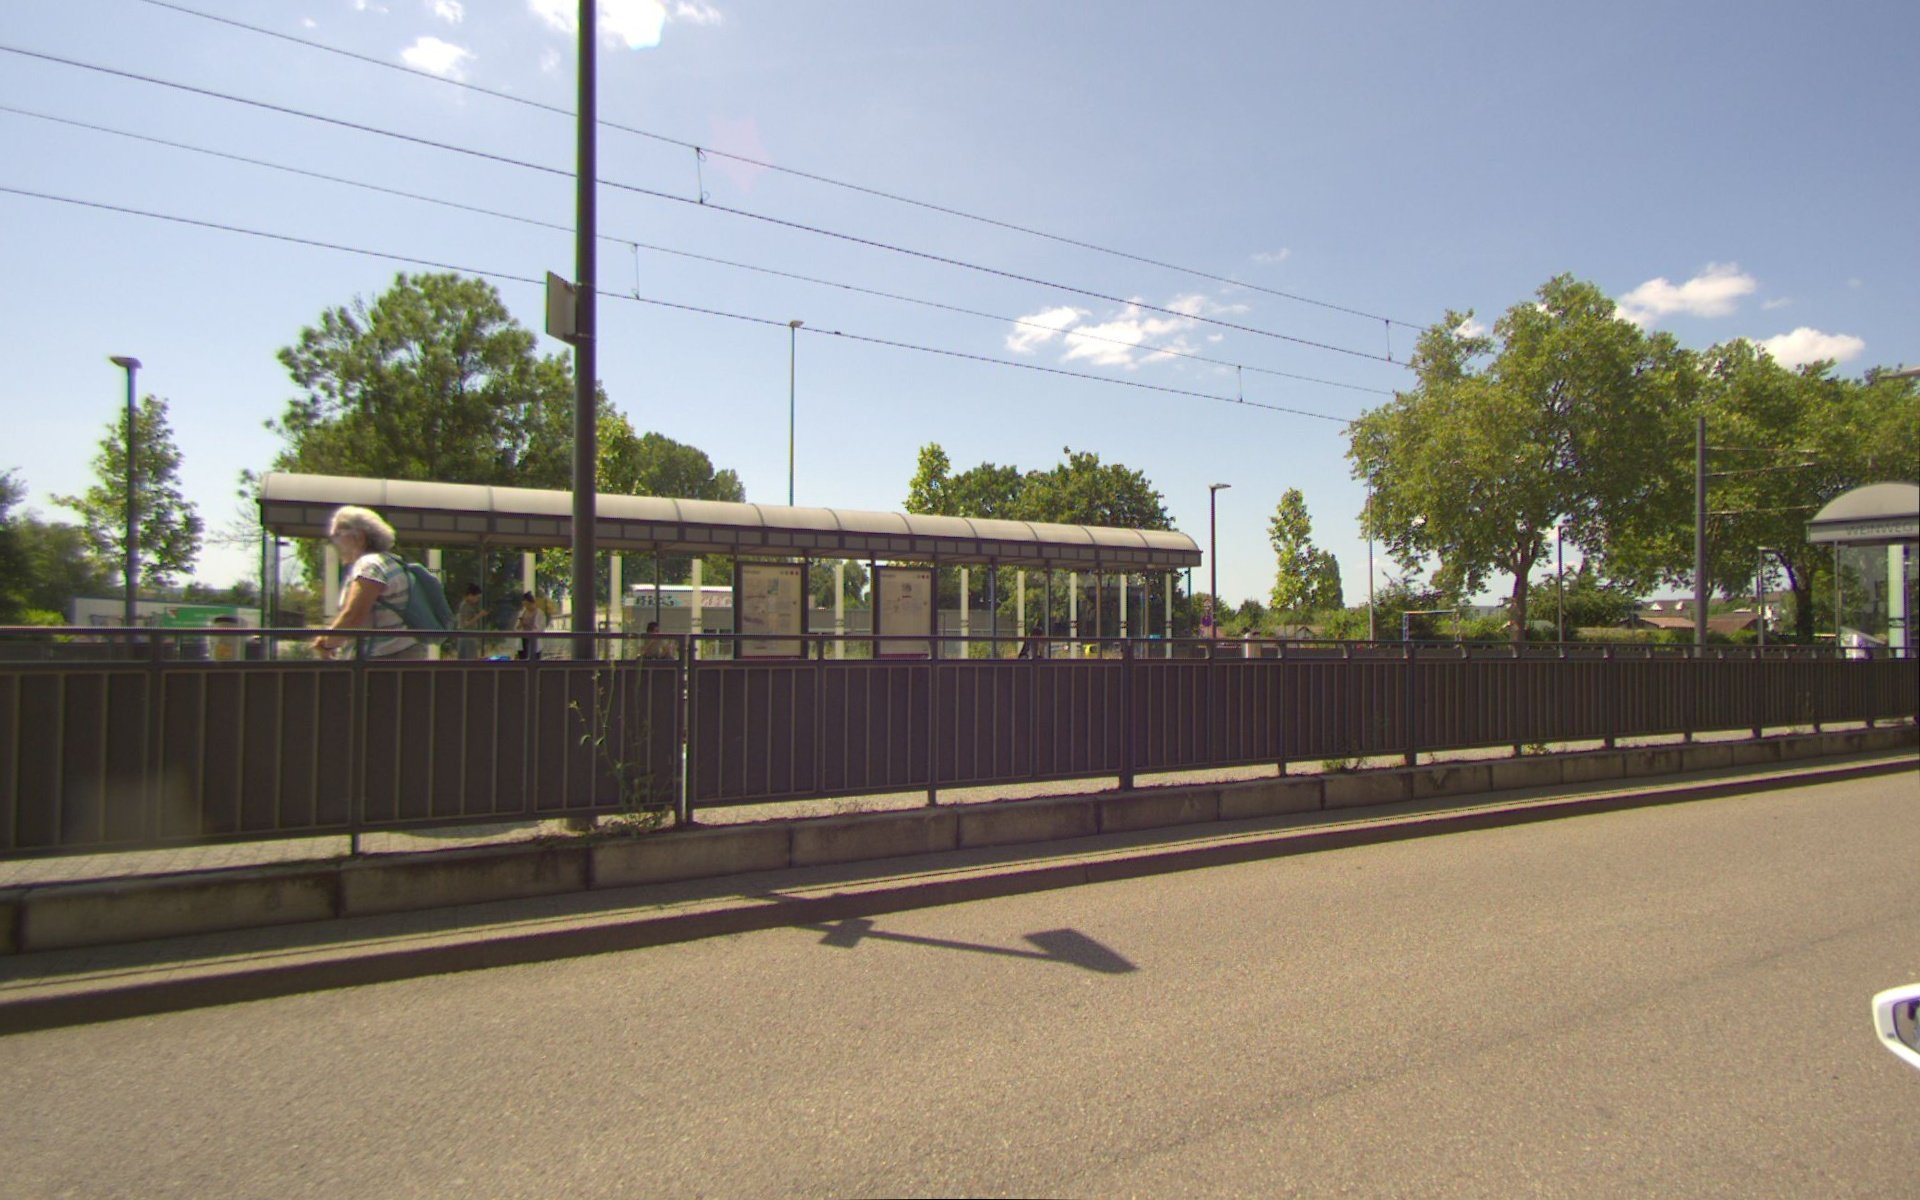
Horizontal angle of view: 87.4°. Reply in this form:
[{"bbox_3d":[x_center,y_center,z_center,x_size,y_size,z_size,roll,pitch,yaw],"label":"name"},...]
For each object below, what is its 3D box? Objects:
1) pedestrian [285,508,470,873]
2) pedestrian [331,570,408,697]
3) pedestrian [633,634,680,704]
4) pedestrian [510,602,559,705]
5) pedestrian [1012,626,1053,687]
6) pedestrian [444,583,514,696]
[{"bbox_3d":[-2.958,0.429,5.148,0.733,1.687,0.729,1,-1,-30],"label":"pedestrian"},{"bbox_3d":[-8.371,0.476,14.264,0.566,1.751,0.739,0,-1,8],"label":"pedestrian"},{"bbox_3d":[-4.972,1.118,16.457,0.631,1.109,0.574,2,-2,-28],"label":"pedestrian"},{"bbox_3d":[-6.620,0.821,15.614,0.631,1.553,0.574,1,-2,-28],"label":"pedestrian"},{"bbox_3d":[1.465,1.131,20.358,0.631,1.206,0.574,2,-2,-28],"label":"pedestrian"},{"bbox_3d":[-7.314,0.600,15.307,0.566,1.660,0.829,0,-2,8],"label":"pedestrian"}]
